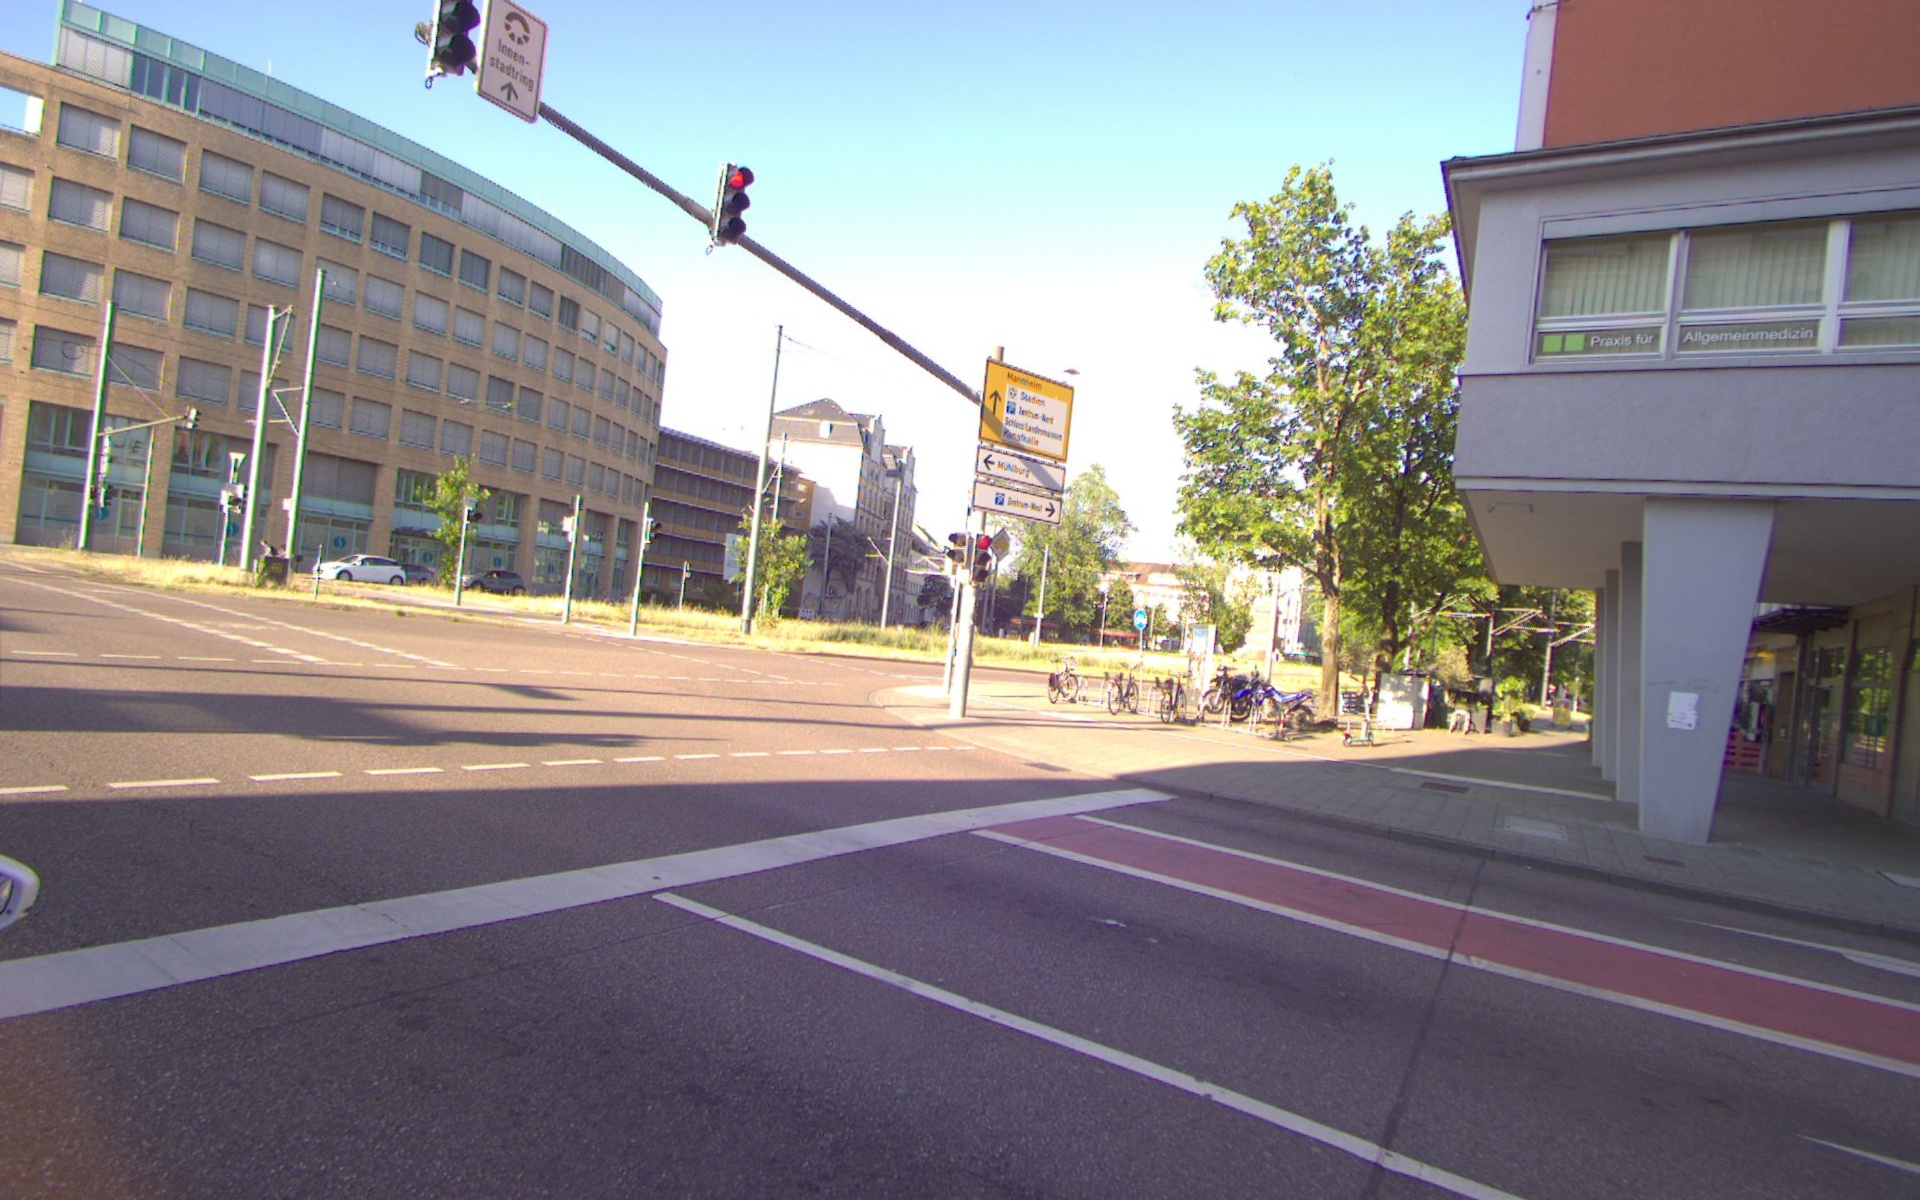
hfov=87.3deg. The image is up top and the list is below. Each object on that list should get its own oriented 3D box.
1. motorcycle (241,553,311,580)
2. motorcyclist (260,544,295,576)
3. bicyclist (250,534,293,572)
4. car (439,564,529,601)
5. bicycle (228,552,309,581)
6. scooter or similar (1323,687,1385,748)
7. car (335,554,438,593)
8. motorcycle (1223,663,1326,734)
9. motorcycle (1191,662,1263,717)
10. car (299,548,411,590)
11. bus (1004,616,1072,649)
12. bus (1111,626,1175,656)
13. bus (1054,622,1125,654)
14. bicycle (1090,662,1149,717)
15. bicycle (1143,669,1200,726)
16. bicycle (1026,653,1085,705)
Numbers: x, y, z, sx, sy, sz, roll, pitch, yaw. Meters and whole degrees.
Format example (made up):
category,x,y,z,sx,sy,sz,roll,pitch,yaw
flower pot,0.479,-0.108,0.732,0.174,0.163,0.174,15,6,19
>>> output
category,x,y,z,sx,sy,sz,roll,pitch,yaw
motorcycle,-34.566,-1.677,50.874,1.014,0.975,2.722,6,-2,31
motorcyclist,-34.521,-2.033,50.887,1.015,1.453,1.067,6,-1,31
bicyclist,-33.183,-2.254,48.466,1.134,1.591,1.225,6,-1,30
car,-26.164,-0.941,55.399,1.790,1.509,4.058,6,-2,30
bicycle,-33.257,-1.580,48.413,1.134,1.012,2.966,6,-1,30
scooter or similar,8.663,2.584,22.103,1.549,1.251,0.479,6,0,-40
car,-31.688,-1.441,55.739,1.954,1.555,4.488,5,-2,32
motorcycle,7.676,2.399,24.574,2.224,1.408,0.845,6,-2,20
motorcycle,7.278,2.440,27.377,2.044,1.324,0.880,7,-1,-44
car,-29.646,-1.507,49.423,1.961,1.509,4.171,6,-2,29
bus,10.064,4.158,128.528,2.377,3.248,11.068,5,-2,41
bus,26.105,5.882,143.146,10.996,3.248,2.327,8,-2,-40
bus,17.630,5.195,136.085,10.994,3.248,2.328,8,-2,-39
bicycle,3.696,2.031,23.226,0.584,1.129,2.003,7,1,29
bicycle,4.766,2.158,22.604,0.583,1.129,2.058,7,1,28
bicycle,2.306,1.867,24.055,0.584,1.129,1.974,7,1,29
